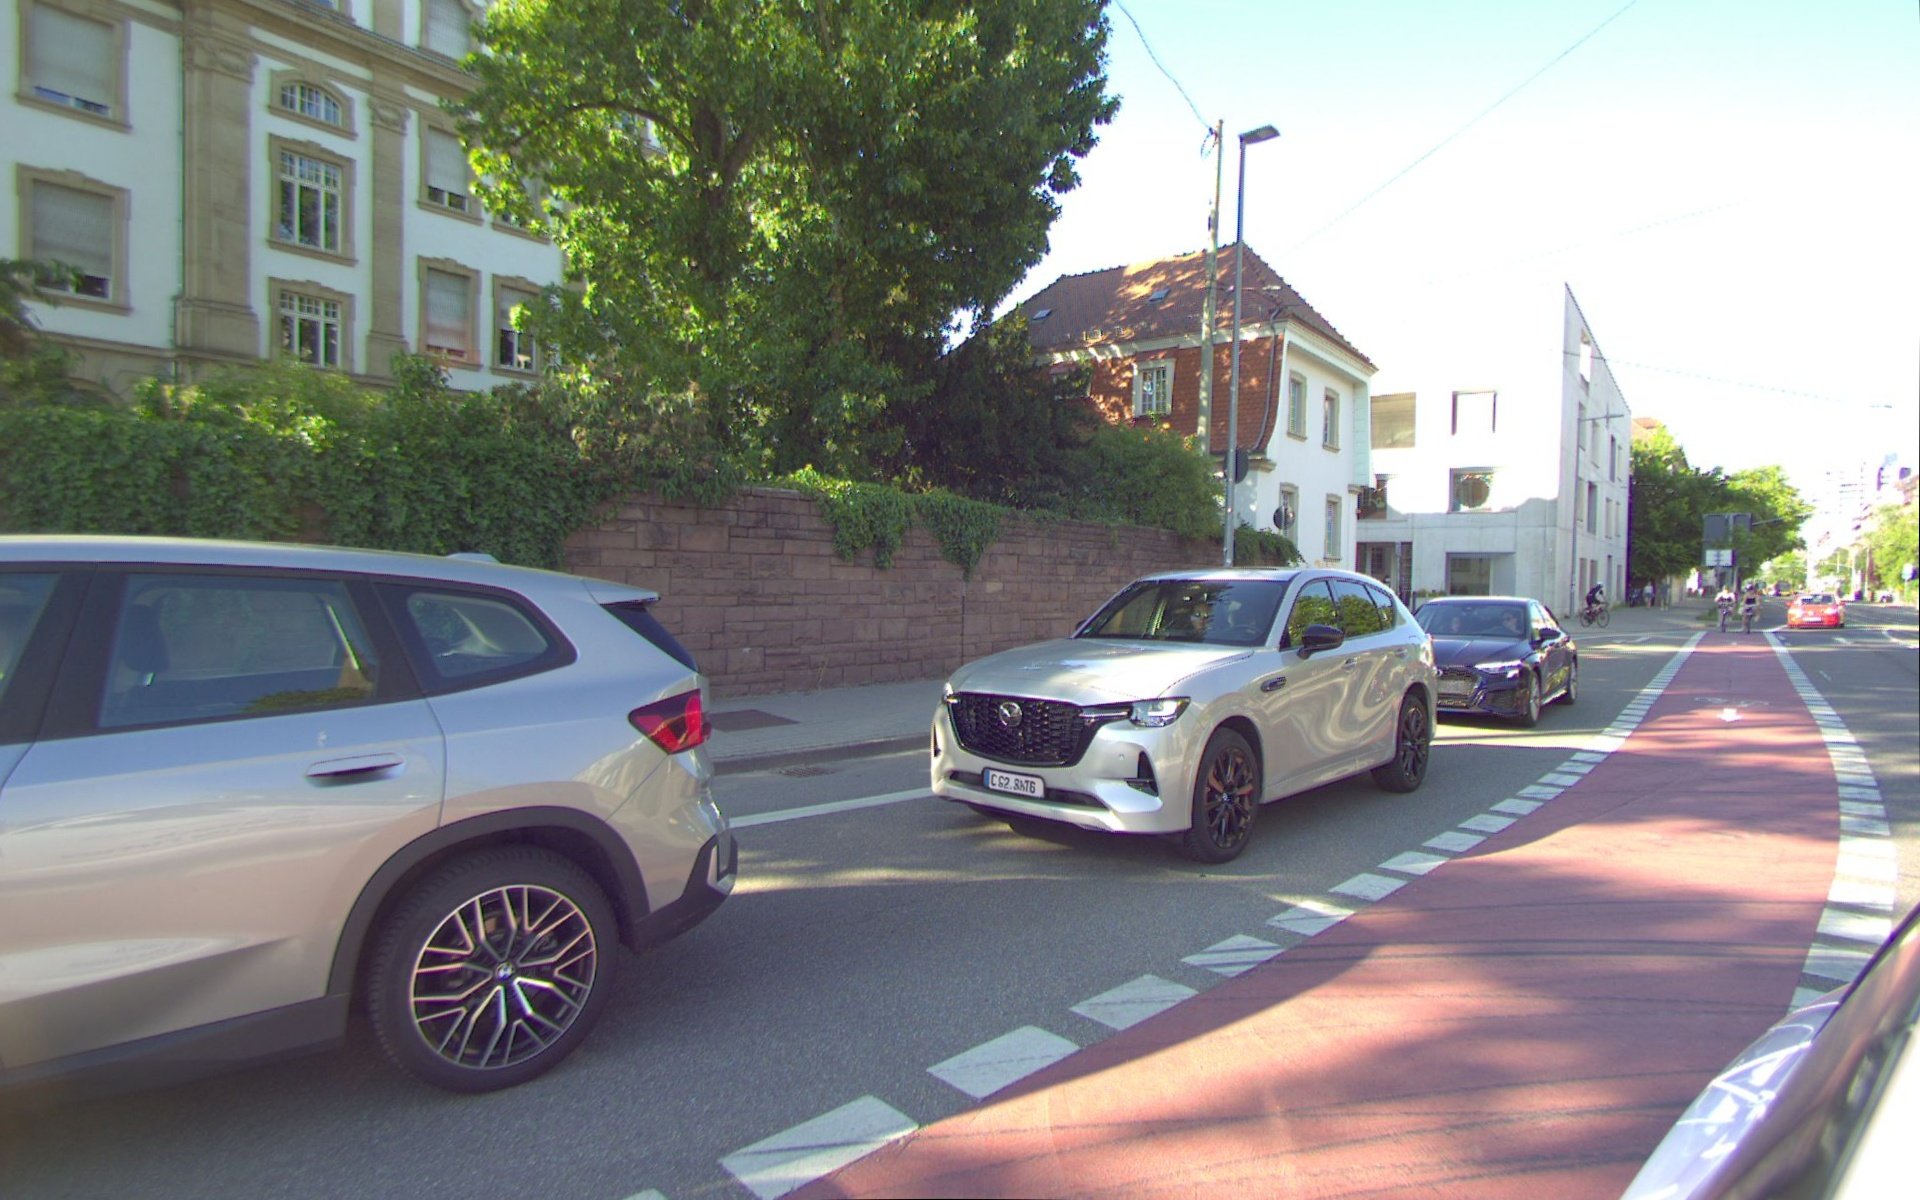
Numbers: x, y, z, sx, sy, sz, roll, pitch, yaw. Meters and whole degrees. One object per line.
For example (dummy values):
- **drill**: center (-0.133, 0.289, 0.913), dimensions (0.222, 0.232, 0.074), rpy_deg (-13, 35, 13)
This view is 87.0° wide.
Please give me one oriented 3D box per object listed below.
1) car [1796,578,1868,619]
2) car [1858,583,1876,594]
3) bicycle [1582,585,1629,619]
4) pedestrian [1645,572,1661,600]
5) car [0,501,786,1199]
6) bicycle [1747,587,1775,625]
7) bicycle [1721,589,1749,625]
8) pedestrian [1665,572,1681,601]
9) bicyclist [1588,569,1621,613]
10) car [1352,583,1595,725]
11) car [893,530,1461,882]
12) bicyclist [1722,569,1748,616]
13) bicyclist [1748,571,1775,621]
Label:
- **car**: center (34.991, -0.072, 40.580), dimensions (3.585, 1.580, 1.648), rpy_deg (-1, 0, -40)
- **car**: center (135.771, -1.758, 151.579), dimensions (1.640, 1.580, 3.602), rpy_deg (0, 0, 36)
- **bicycle**: center (24.546, 0.060, 38.486), dimensions (2.411, 1.266, 0.676), rpy_deg (0, 2, -37)
- **pedestrian**: center (41.013, -0.823, 59.917), dimensions (0.673, 1.668, 0.806), rpy_deg (1, 1, 40)
- **car**: center (-2.831, 0.576, 2.954), dimensions (4.248, 1.614, 1.792), rpy_deg (0, 0, -36)
- **bicycle**: center (27.767, 0.188, 35.063), dimensions (0.673, 1.265, 2.421), rpy_deg (2, 2, 40)
- **bicycle**: center (28.207, 0.233, 36.842), dimensions (0.673, 1.265, 2.421), rpy_deg (2, 2, 40)
- **pedestrian**: center (41.733, -0.813, 59.264), dimensions (0.673, 1.668, 0.806), rpy_deg (1, 1, 40)
- **bicyclist**: center (24.475, -0.348, 38.421), dimensions (1.010, 1.667, 0.676), rpy_deg (0, 2, -36)
- **car**: center (6.412, 0.525, 12.435), dimensions (1.782, 1.451, 3.941), rpy_deg (0, 1, 41)
- **car**: center (1.810, 0.491, 7.224), dimensions (1.940, 1.713, 4.460), rpy_deg (0, 0, 44)
- **bicyclist**: center (28.160, -0.273, 36.768), dimensions (0.673, 1.667, 1.014), rpy_deg (2, 2, 40)
- **bicyclist**: center (27.785, -0.152, 35.071), dimensions (0.673, 1.667, 1.014), rpy_deg (2, 2, 40)
